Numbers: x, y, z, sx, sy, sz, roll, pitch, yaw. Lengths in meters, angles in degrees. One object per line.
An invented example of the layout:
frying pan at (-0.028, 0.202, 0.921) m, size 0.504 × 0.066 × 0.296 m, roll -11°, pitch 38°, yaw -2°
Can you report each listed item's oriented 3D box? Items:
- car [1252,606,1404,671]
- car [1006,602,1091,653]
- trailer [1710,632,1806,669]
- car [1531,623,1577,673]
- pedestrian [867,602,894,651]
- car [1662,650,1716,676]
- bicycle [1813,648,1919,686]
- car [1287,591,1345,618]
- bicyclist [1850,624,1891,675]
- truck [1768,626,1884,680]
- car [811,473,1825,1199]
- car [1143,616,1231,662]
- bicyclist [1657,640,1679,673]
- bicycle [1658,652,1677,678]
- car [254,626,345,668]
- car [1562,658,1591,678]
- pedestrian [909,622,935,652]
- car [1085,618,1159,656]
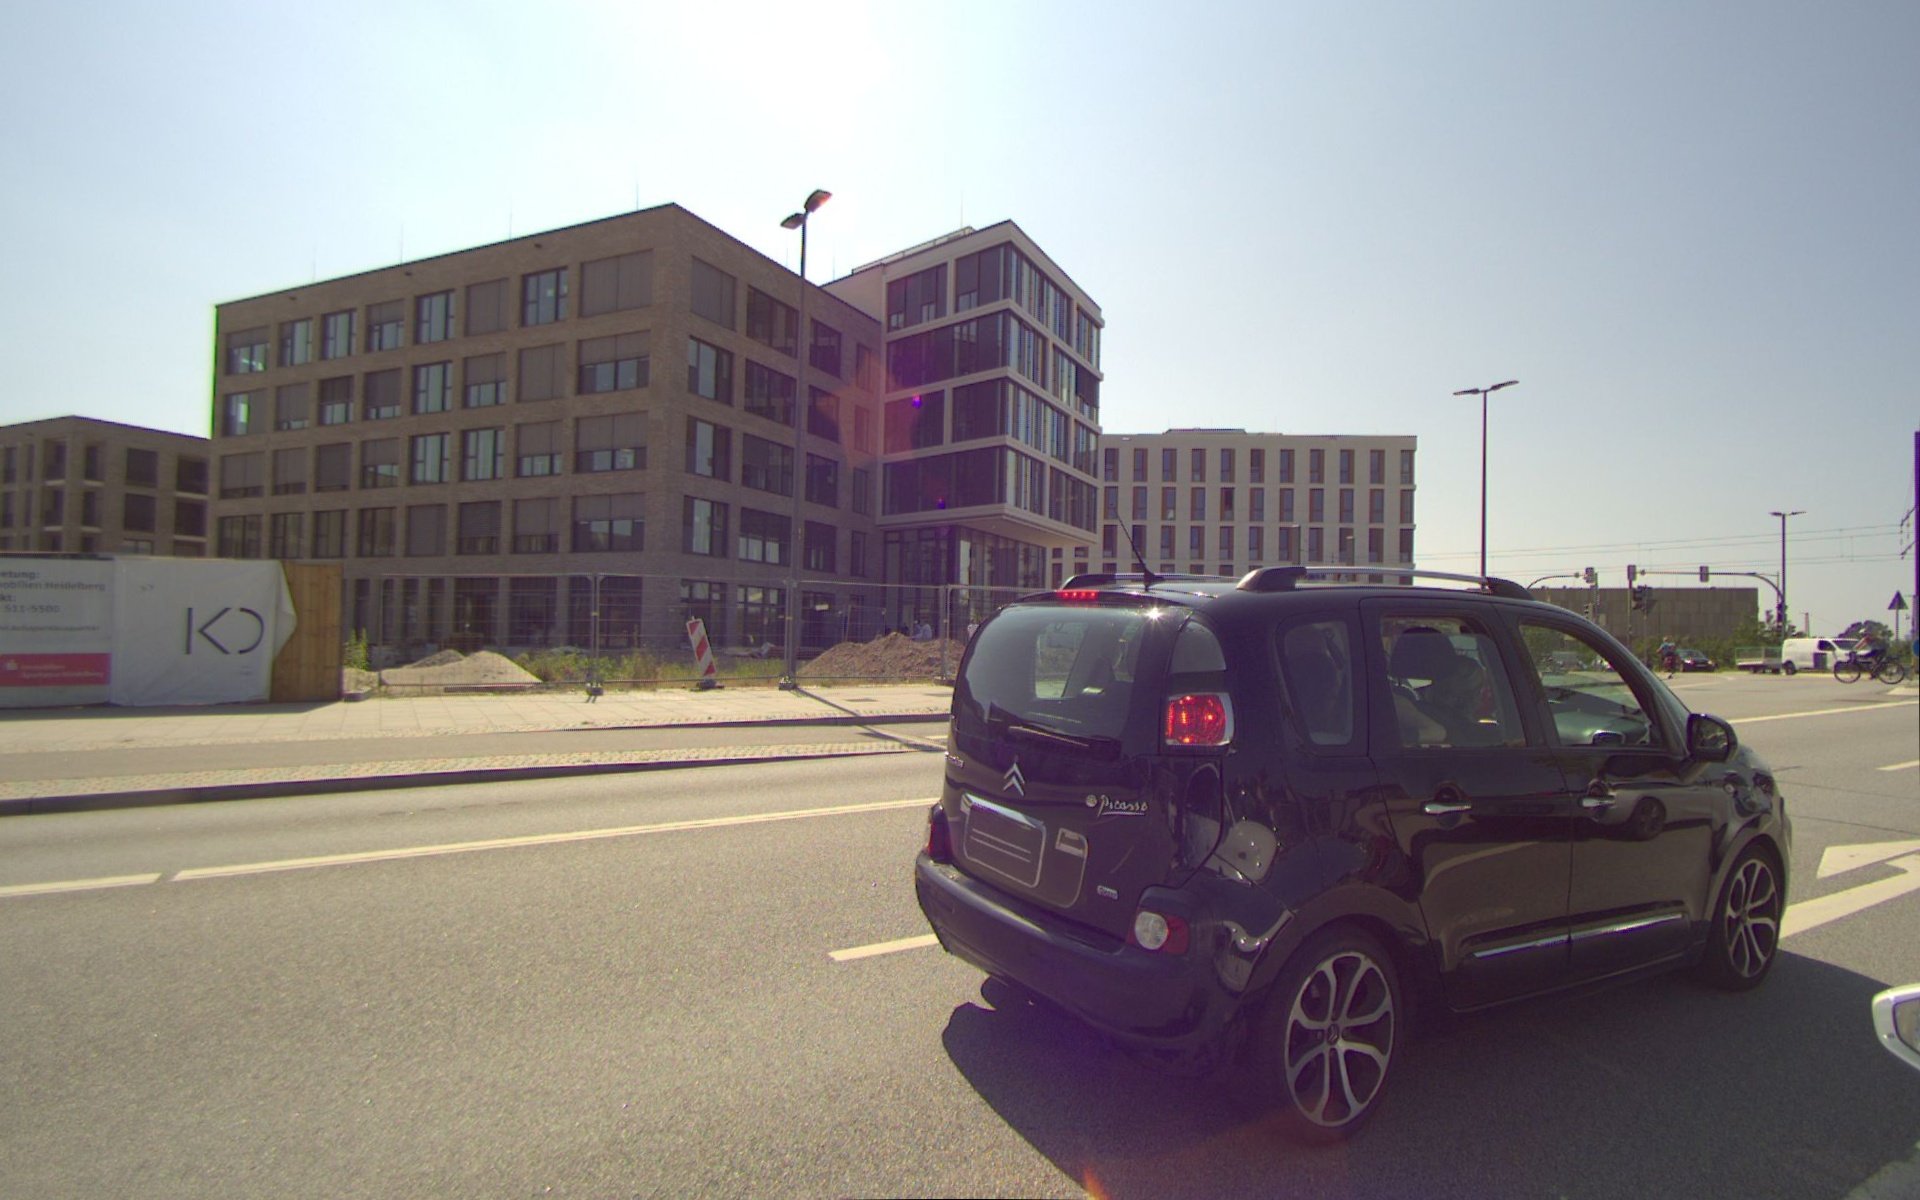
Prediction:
car at (12.206, 1.249, 33.622) m, size 4.395 × 1.915 × 2.001 m, roll 2°, pitch 0°, yaw 8°
car at (3.980, 1.210, 44.763) m, size 2.175 × 2.083 × 4.164 m, roll 2°, pitch 0°, yaw 30°
trailer at (44.999, 2.800, 56.741) m, size 1.961 × 1.799 × 4.286 m, roll 2°, pitch 0°, yaw 0°
car at (26.380, 2.092, 44.687) m, size 1.645 × 2.040 × 3.993 m, roll 2°, pitch 0°, yaw 30°
pedestrian at (-3.427, 1.148, 43.263) m, size 0.949 × 2.040 × 0.940 m, roll 2°, pitch 0°, yaw -17°
car at (46.570, 4.019, 64.279) m, size 1.633 × 1.408 × 3.788 m, roll 2°, pitch 0°, yaw 17°
bicycle at (27.645, 2.024, 30.581) m, size 0.598 × 1.020 × 2.493 m, roll 2°, pitch -1°, yaw -29°
car at (29.024, 0.319, 81.987) m, size 1.986 × 2.040 × 3.949 m, roll 2°, pitch 0°, yaw -43°
bicyclist at (27.683, 1.498, 30.553) m, size 0.833 × 1.522 × 0.654 m, roll 2°, pitch 0°, yaw -29°
truck at (45.022, 2.709, 52.364) m, size 1.961 × 2.574 × 4.709 m, roll 2°, pitch -1°, yaw 0°
car at (1.562, 0.609, 4.046) m, size 3.872 × 1.643 × 1.795 m, roll 2°, pitch -1°, yaw -31°
car at (9.581, 1.609, 42.165) m, size 1.969 × 1.730 × 4.546 m, roll 2°, pitch 0°, yaw 35°
bicyclist at (34.282, 2.721, 48.658) m, size 0.810 × 1.524 × 0.719 m, roll 2°, pitch -1°, yaw 33°
bicycle at (34.352, 3.150, 48.794) m, size 0.626 × 1.148 × 2.320 m, roll 1°, pitch -1°, yaw 33°
car at (-30.415, 2.133, 46.232) m, size 3.708 × 1.675 × 1.834 m, roll 2°, pitch 0°, yaw 26°
car at (53.458, 5.897, 87.120) m, size 1.555 × 1.458 × 3.154 m, roll 2°, pitch 0°, yaw 21°
pedestrian at (-1.869, 1.822, 49.478) m, size 1.099 × 1.391 × 0.742 m, roll 2°, pitch 0°, yaw -17°
car at (7.080, 1.588, 43.713) m, size 1.773 × 1.528 × 3.991 m, roll 2°, pitch 0°, yaw 31°
